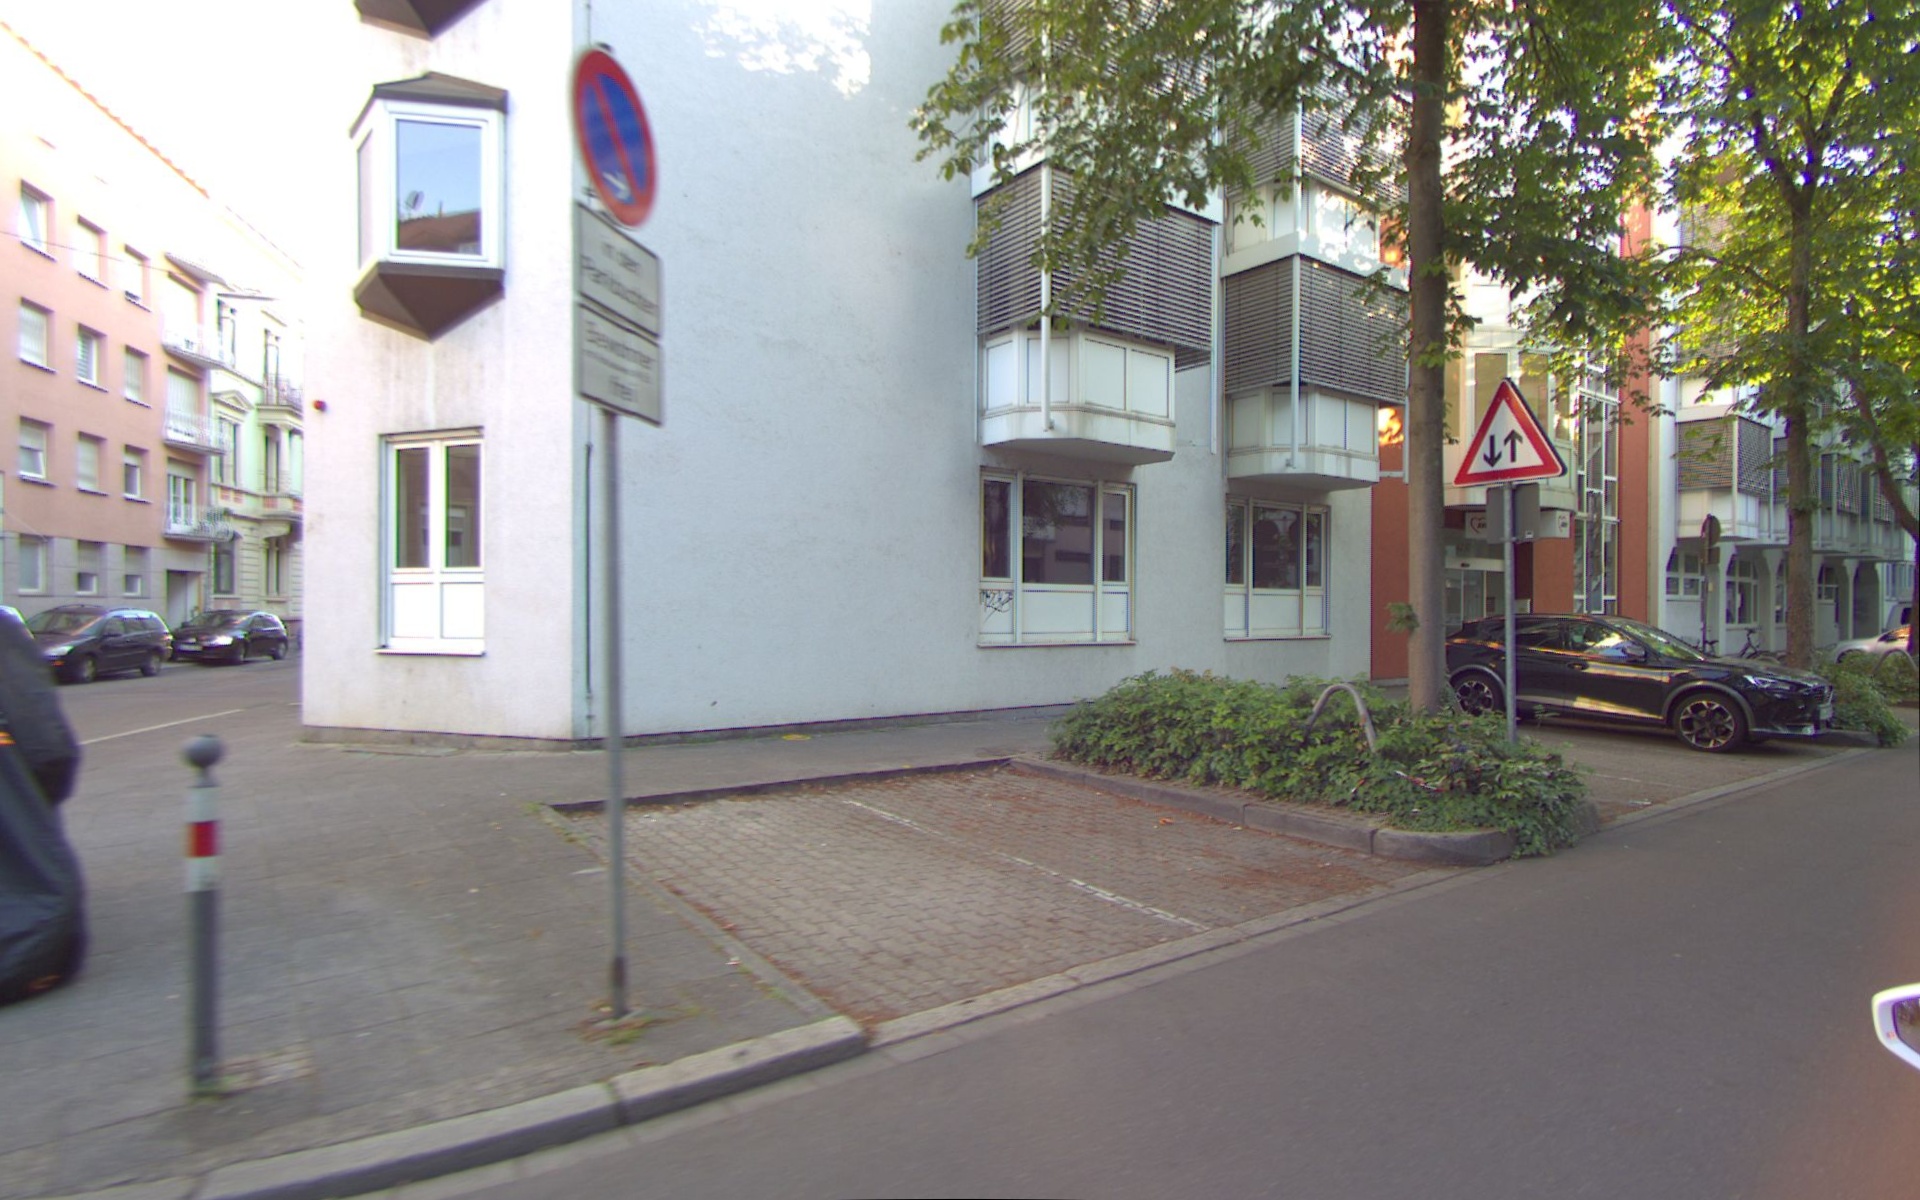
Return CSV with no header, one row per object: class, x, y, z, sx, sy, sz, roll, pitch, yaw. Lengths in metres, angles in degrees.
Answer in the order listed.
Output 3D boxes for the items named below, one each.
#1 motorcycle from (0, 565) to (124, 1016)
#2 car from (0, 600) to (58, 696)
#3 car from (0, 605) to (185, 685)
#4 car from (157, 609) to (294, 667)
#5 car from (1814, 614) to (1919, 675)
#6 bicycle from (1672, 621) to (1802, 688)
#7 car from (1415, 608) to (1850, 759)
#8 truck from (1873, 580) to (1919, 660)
motorcycle,-4.232,0.672,4.112,2.126,1.576,0.667,0,0,34
car,-17.272,0.827,16.670,1.666,1.646,4.044,0,-1,-13
car,-18.544,0.891,21.373,1.666,1.534,4.271,0,-1,-14
car,-20.512,1.017,28.264,1.666,1.477,4.120,0,-1,-14
car,24.751,1.151,25.759,1.624,1.491,4.103,0,0,-36
bicycle,14.897,1.015,19.294,1.949,1.215,0.499,0,0,43
car,8.443,0.916,12.998,1.817,1.529,4.326,0,0,-36
truck,31.472,0.628,30.710,1.897,2.474,4.966,-1,1,-35
